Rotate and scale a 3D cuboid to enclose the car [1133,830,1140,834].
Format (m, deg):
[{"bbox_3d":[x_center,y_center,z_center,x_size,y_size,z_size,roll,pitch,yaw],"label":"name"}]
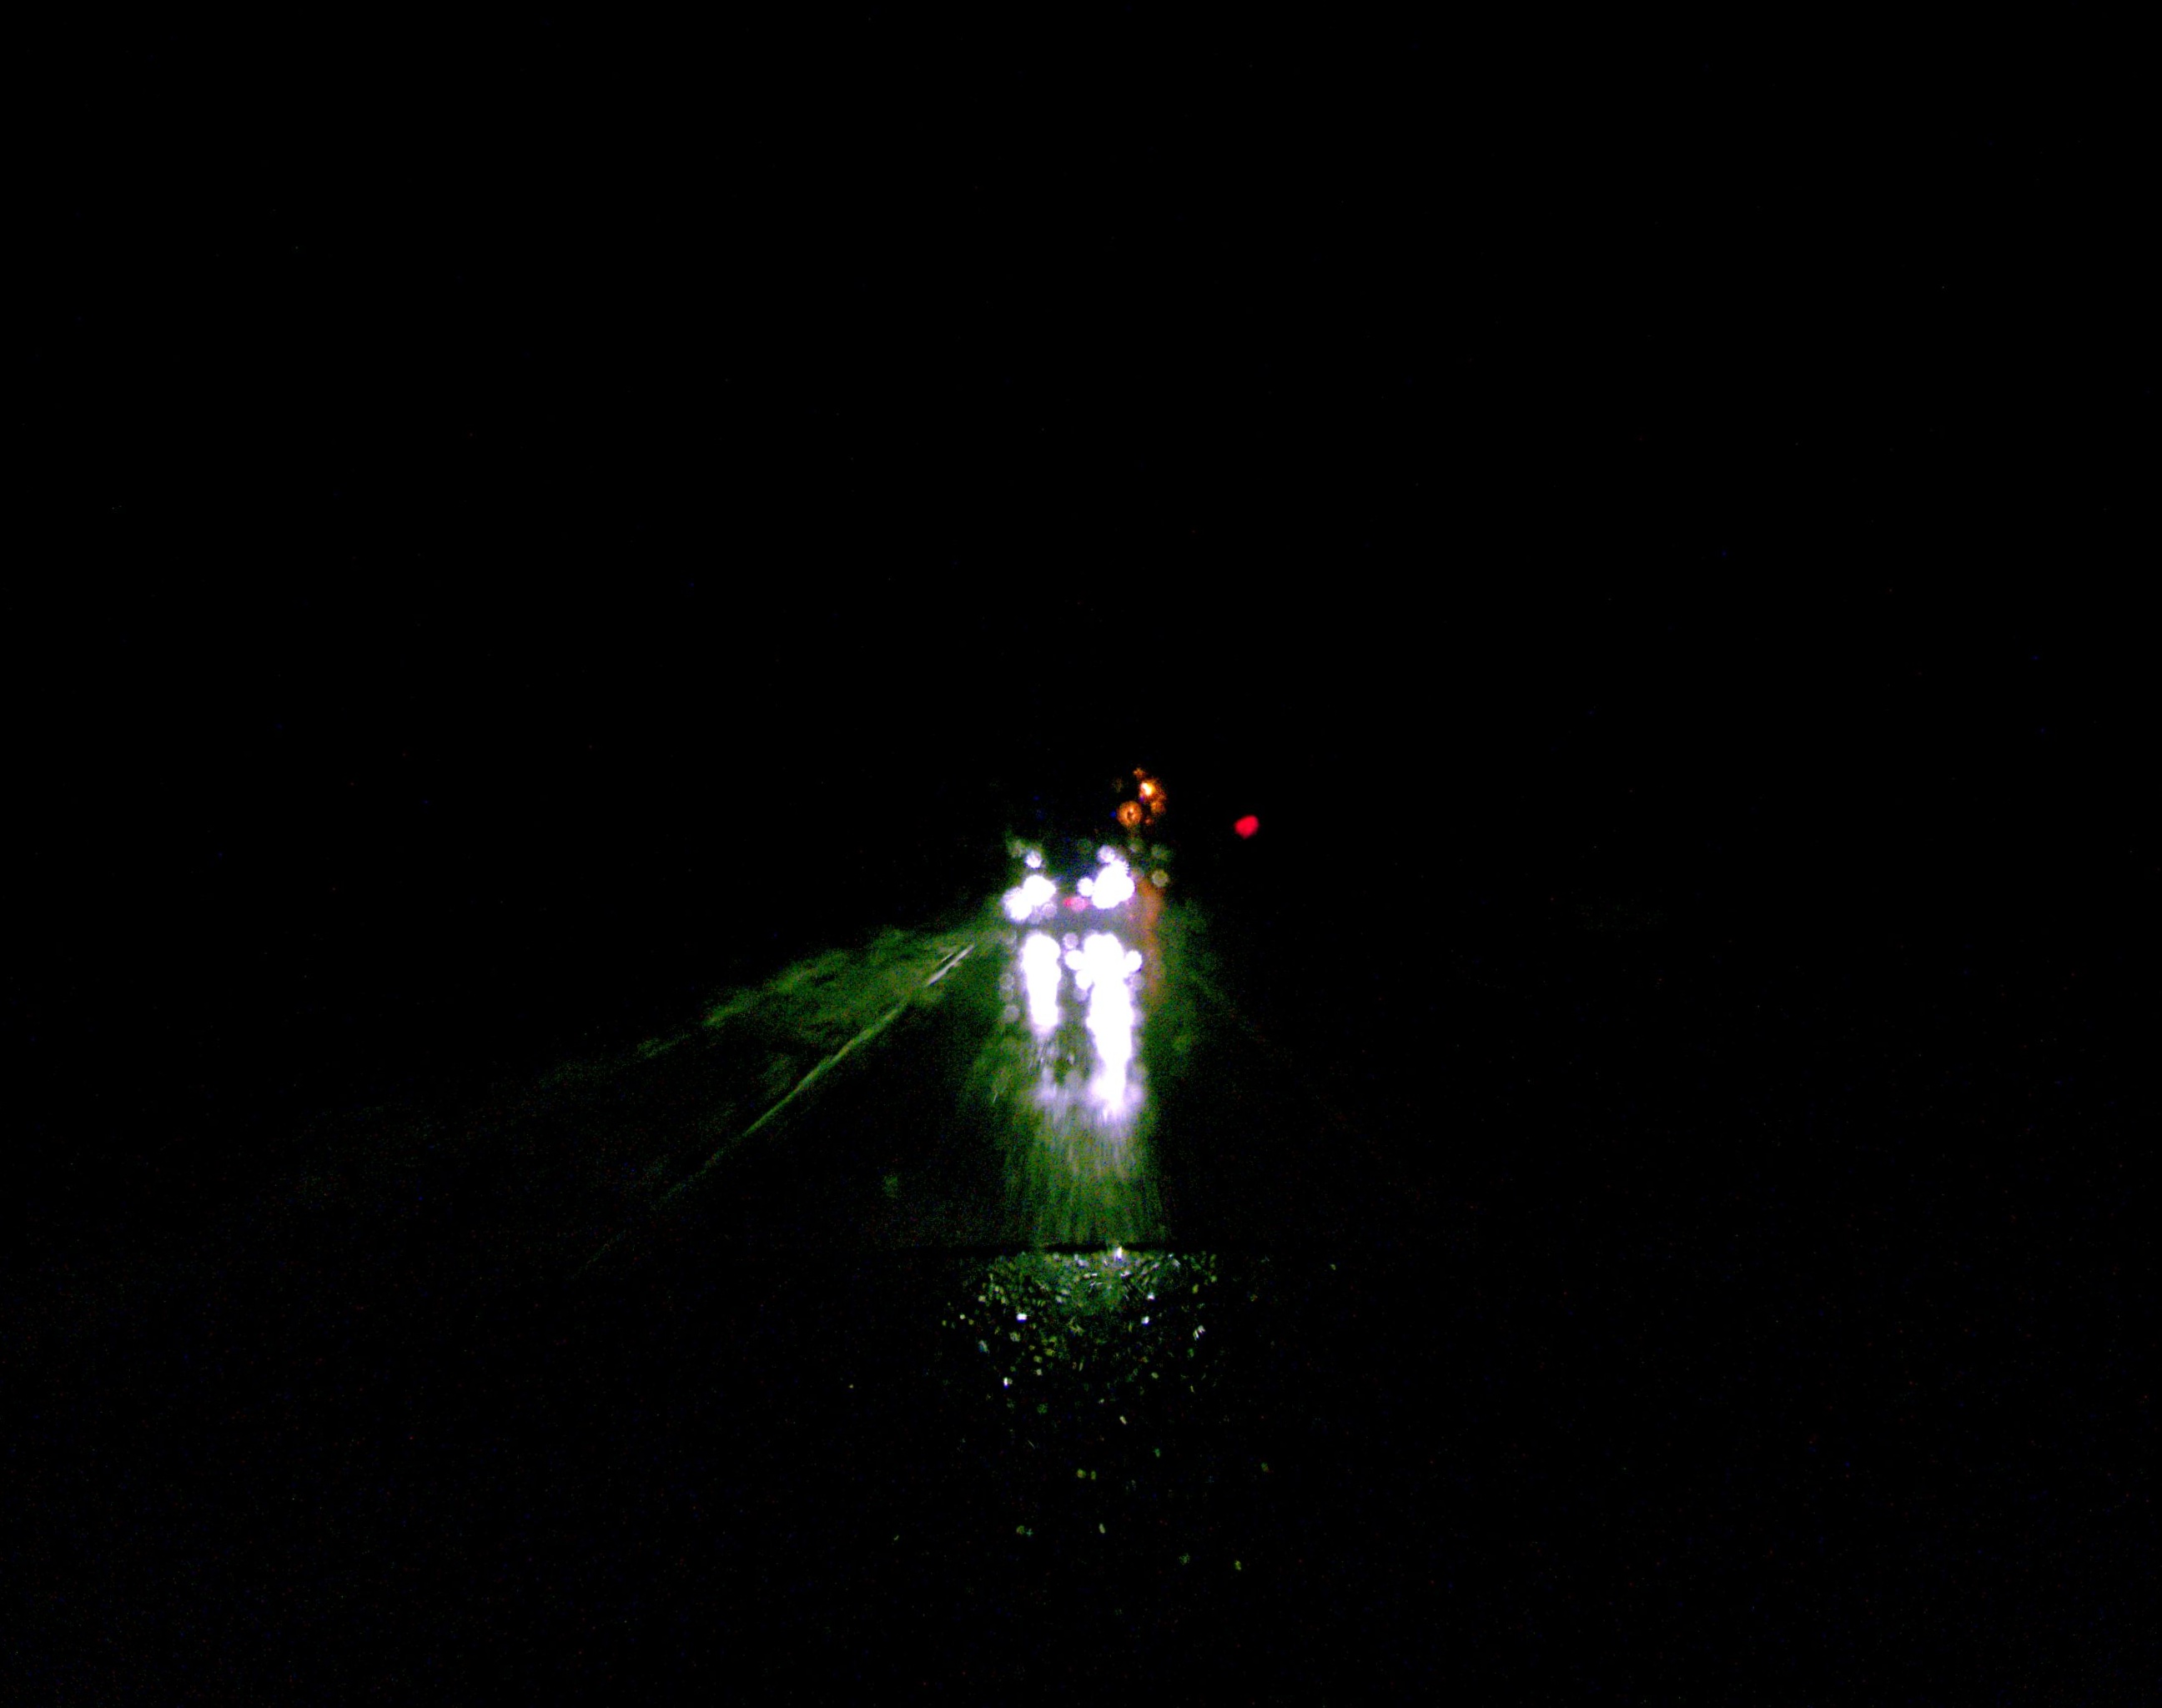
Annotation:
[{"bbox_3d":[18.494,-7.332,253.293,1.918,1.467,4.203,0,2,6],"label":"car"}]

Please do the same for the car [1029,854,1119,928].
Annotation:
[{"bbox_3d":[-0.090,0.817,18.830,1.944,1.580,4.776,-1,0,1],"label":"car"}]
